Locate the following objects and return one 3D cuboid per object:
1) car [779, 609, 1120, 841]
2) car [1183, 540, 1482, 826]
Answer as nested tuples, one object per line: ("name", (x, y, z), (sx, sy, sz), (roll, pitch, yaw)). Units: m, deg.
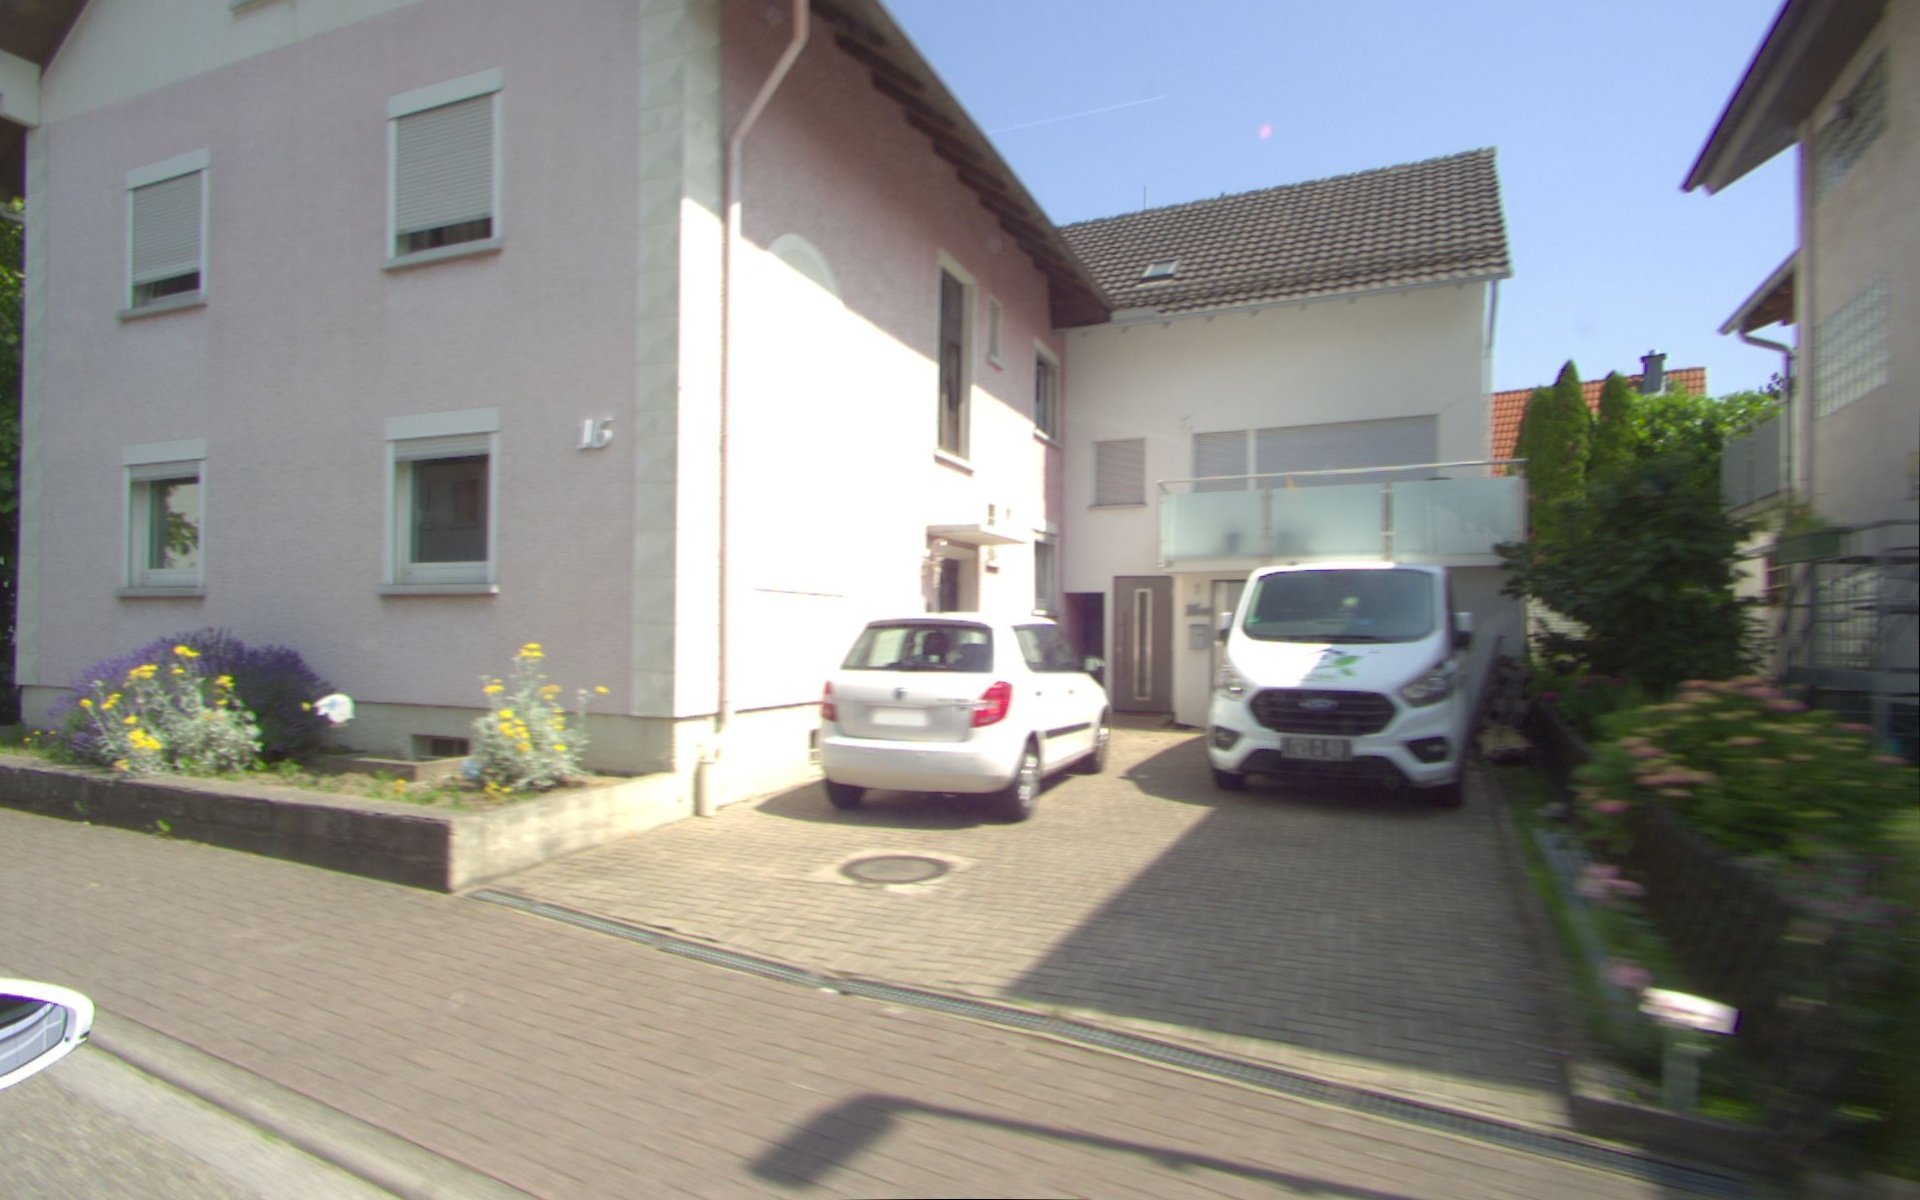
("car", (0.160, 0.826, 8.465), (1.651, 1.480, 3.752), (0, 0, 20))
("car", (3.717, 0.595, 9.468), (2.023, 1.938, 4.979), (0, -1, 26))
